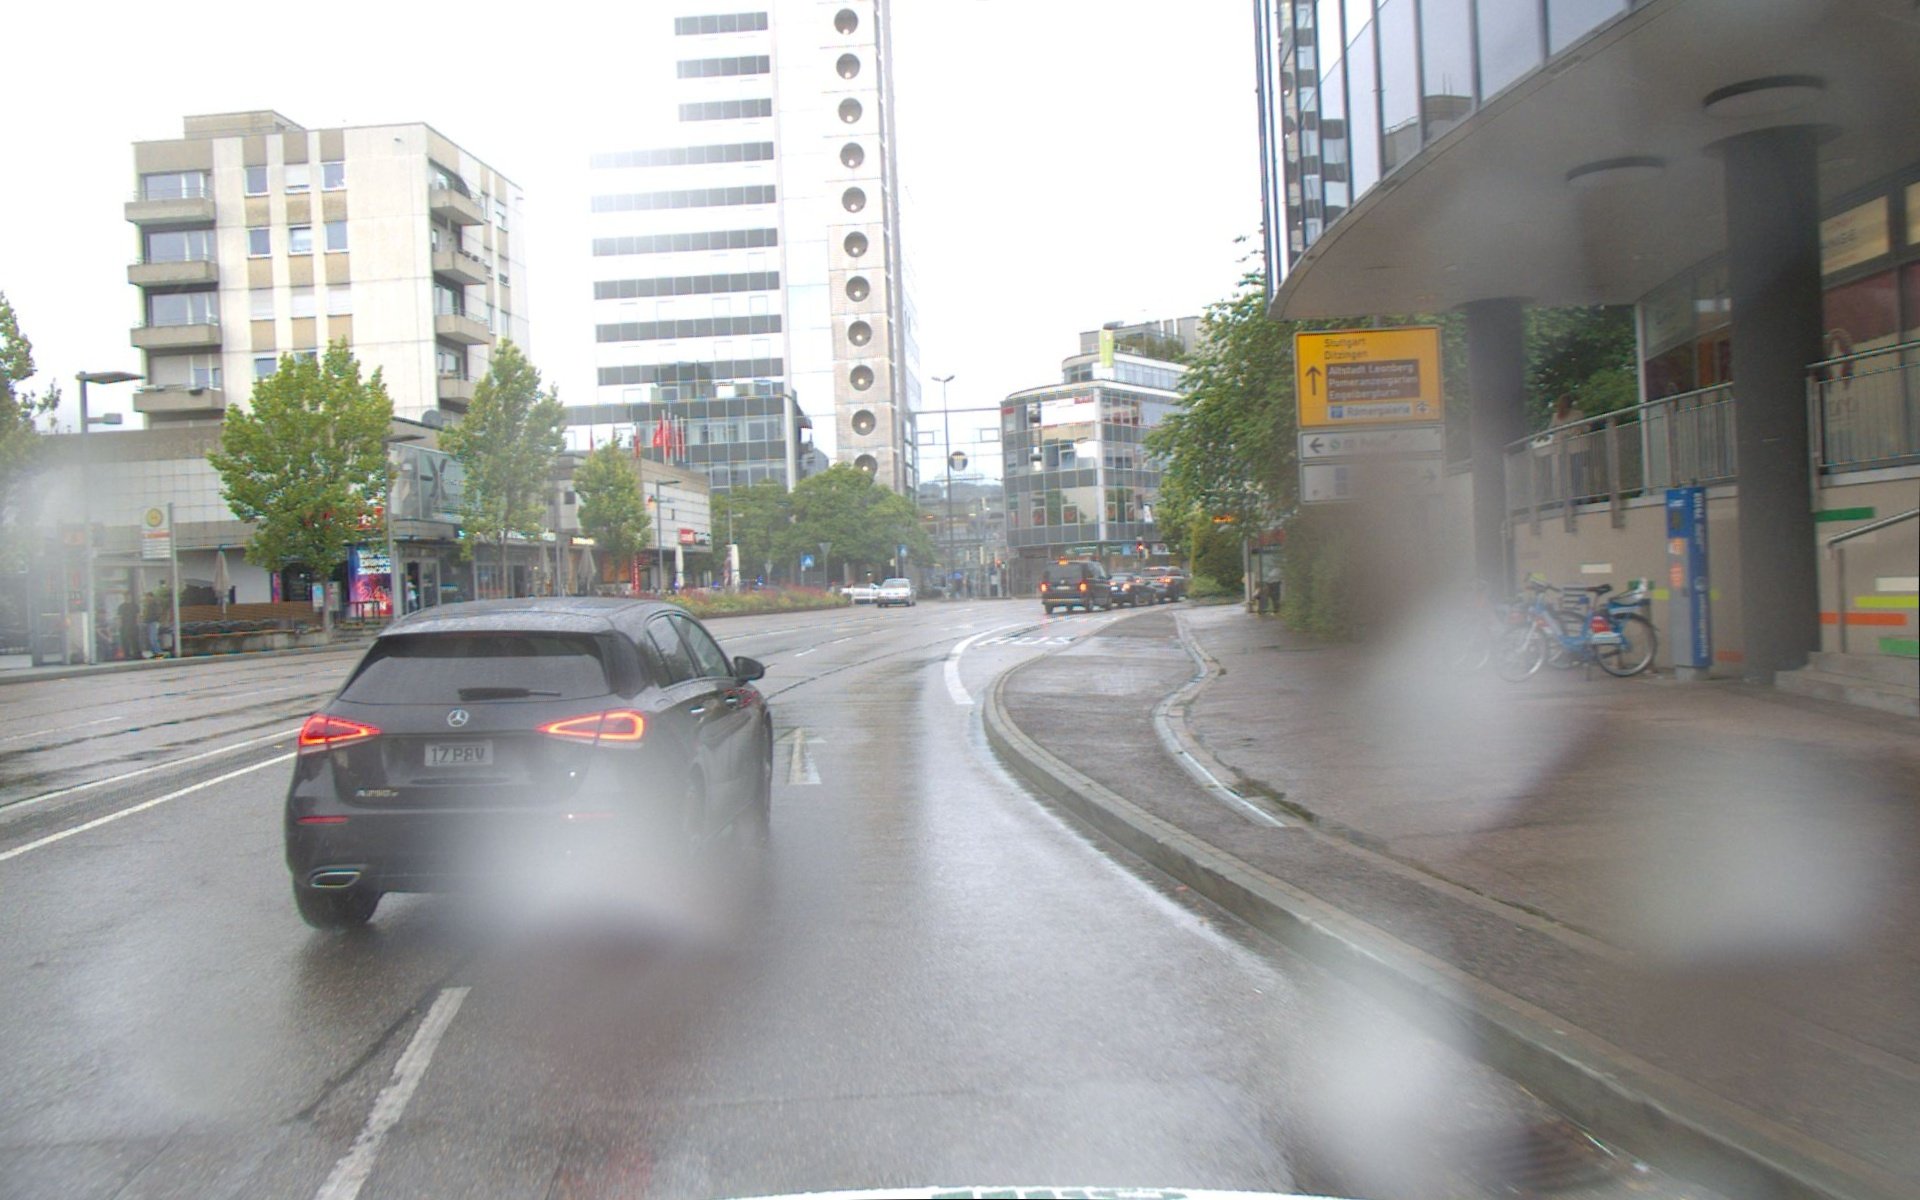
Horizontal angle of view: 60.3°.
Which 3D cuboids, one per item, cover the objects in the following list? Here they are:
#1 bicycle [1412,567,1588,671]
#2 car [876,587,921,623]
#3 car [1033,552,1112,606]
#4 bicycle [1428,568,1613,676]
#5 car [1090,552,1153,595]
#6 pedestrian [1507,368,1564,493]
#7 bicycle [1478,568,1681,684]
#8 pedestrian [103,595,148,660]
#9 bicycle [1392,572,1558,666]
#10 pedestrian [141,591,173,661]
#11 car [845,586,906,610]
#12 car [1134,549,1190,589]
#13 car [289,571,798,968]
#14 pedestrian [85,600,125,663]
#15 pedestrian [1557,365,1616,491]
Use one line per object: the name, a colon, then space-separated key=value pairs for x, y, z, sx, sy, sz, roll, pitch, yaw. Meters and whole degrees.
bicycle: x=6.387 y=0.225 z=19.621 sx=1.811 sy=1.051 sz=0.629 roll=-5 pitch=0 yaw=1
car: x=-3.139 y=0.252 z=84.799 sx=1.656 sy=1.660 sz=3.515 roll=-2 pitch=1 yaw=7
car: x=4.410 y=-0.842 z=64.171 sx=2.000 sy=1.928 sz=4.141 roll=-2 pitch=2 yaw=19
bicycle: x=6.376 y=0.246 z=18.861 sx=1.811 sy=1.060 sz=0.647 roll=-5 pitch=0 yaw=1
car: x=6.996 y=-1.180 z=71.286 sx=1.847 sy=1.701 sz=4.003 roll=-2 pitch=2 yaw=18
pedestrian: x=8.320 y=-2.441 z=23.937 sx=0.638 sy=1.743 sz=0.600 roll=-2 pitch=2 yaw=6
bicycle: x=6.415 y=0.262 z=17.185 sx=1.811 sy=1.041 sz=0.632 roll=-4 pitch=0 yaw=1
pedestrian: x=-21.275 y=0.689 z=42.177 sx=0.779 sy=1.598 sz=0.636 roll=-2 pitch=1 yaw=-4
bicycle: x=6.307 y=0.229 z=20.322 sx=1.810 sy=0.967 sz=0.536 roll=-5 pitch=1 yaw=4
pedestrian: x=-20.641 y=0.660 z=42.513 sx=0.477 sy=1.748 sz=0.538 roll=-2 pitch=1 yaw=-1
car: x=-5.653 y=-0.135 z=110.386 sx=3.905 sy=1.408 sz=1.728 roll=-2 pitch=1 yaw=1
car: x=9.496 y=-1.475 z=77.380 sx=1.870 sy=1.754 sz=3.812 roll=-2 pitch=2 yaw=18
car: x=-1.880 y=0.649 z=8.740 sx=1.629 sy=1.507 sz=4.094 roll=-2 pitch=2 yaw=-1
pedestrian: x=-21.339 y=0.780 z=41.300 sx=0.621 sy=1.496 sz=0.636 roll=-2 pitch=1 yaw=-4
pedestrian: x=8.997 y=-2.457 z=23.778 sx=0.638 sy=1.743 sz=0.600 roll=-2 pitch=2 yaw=6
